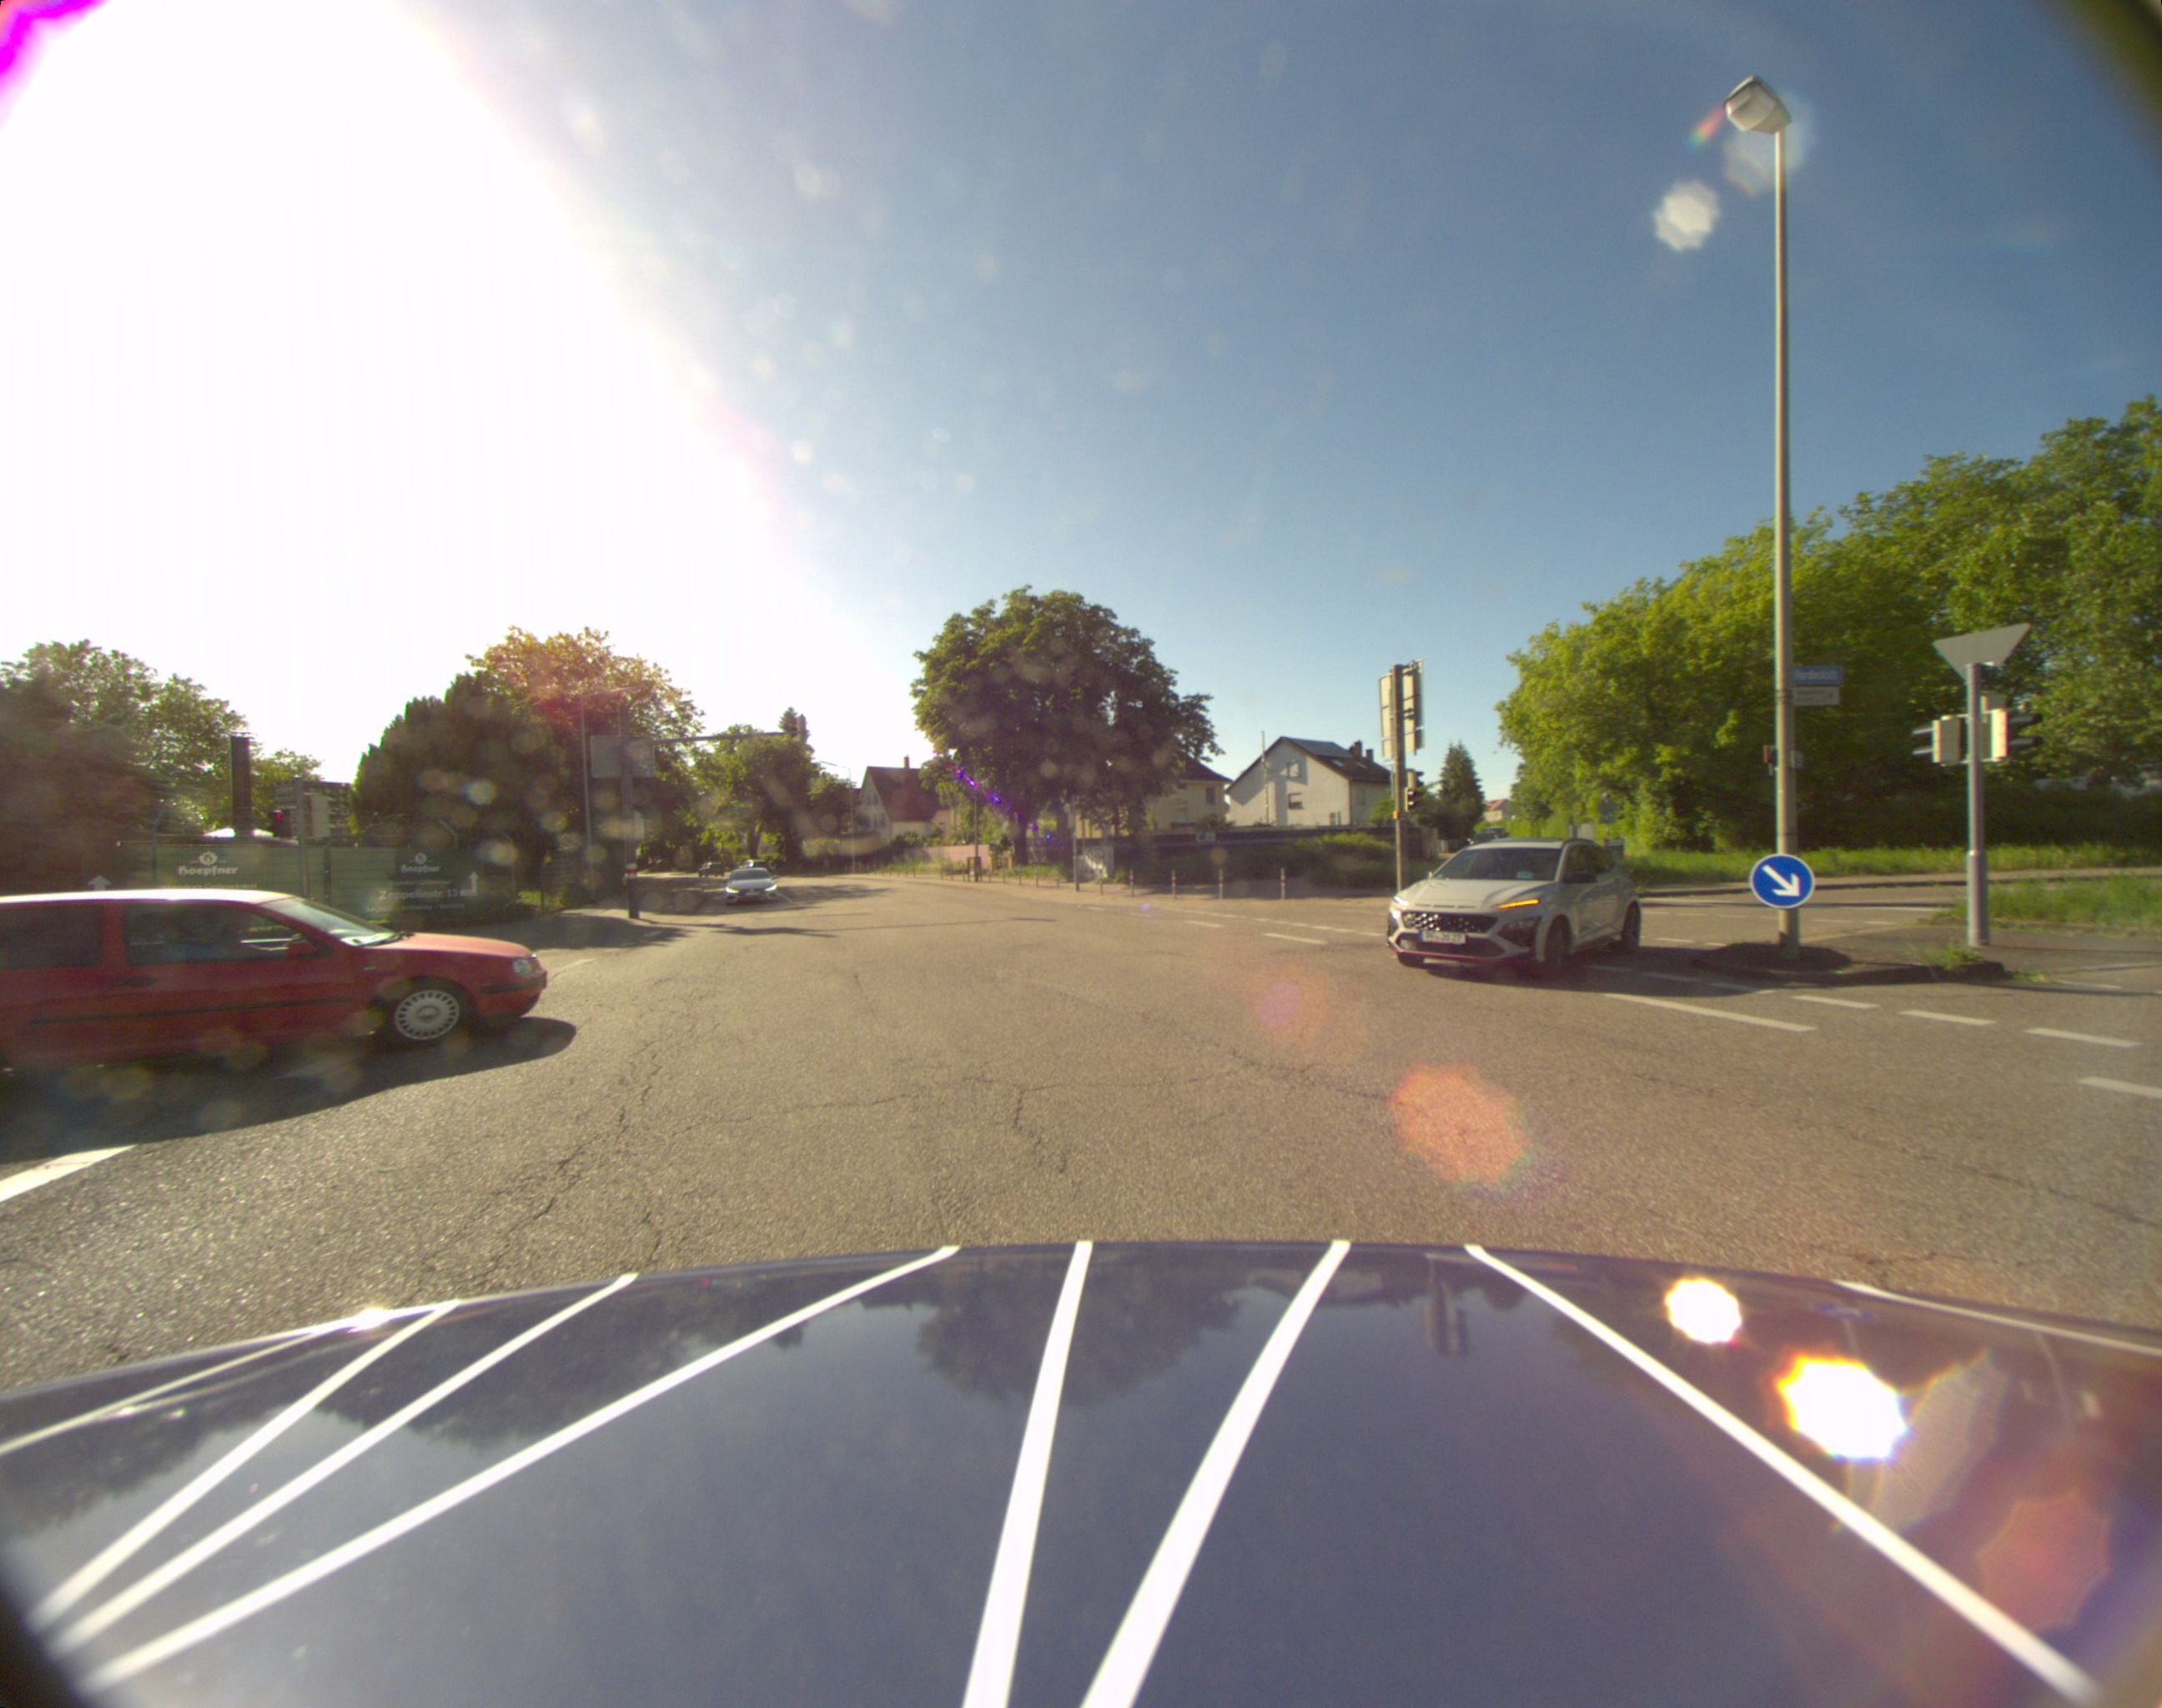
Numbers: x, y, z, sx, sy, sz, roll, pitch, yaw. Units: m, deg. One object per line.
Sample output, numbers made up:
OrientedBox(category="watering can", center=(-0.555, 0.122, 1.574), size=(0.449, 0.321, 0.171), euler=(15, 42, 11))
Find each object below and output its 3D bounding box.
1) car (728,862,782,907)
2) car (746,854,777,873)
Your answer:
OrientedBox(category="car", center=(-13.016, 1.150, 30.373), size=(1.812, 1.523, 4.506), euler=(-2, 1, -23))
OrientedBox(category="car", center=(-28.470, 0.834, 67.674), size=(1.865, 1.625, 4.247), euler=(-2, 0, -31))
